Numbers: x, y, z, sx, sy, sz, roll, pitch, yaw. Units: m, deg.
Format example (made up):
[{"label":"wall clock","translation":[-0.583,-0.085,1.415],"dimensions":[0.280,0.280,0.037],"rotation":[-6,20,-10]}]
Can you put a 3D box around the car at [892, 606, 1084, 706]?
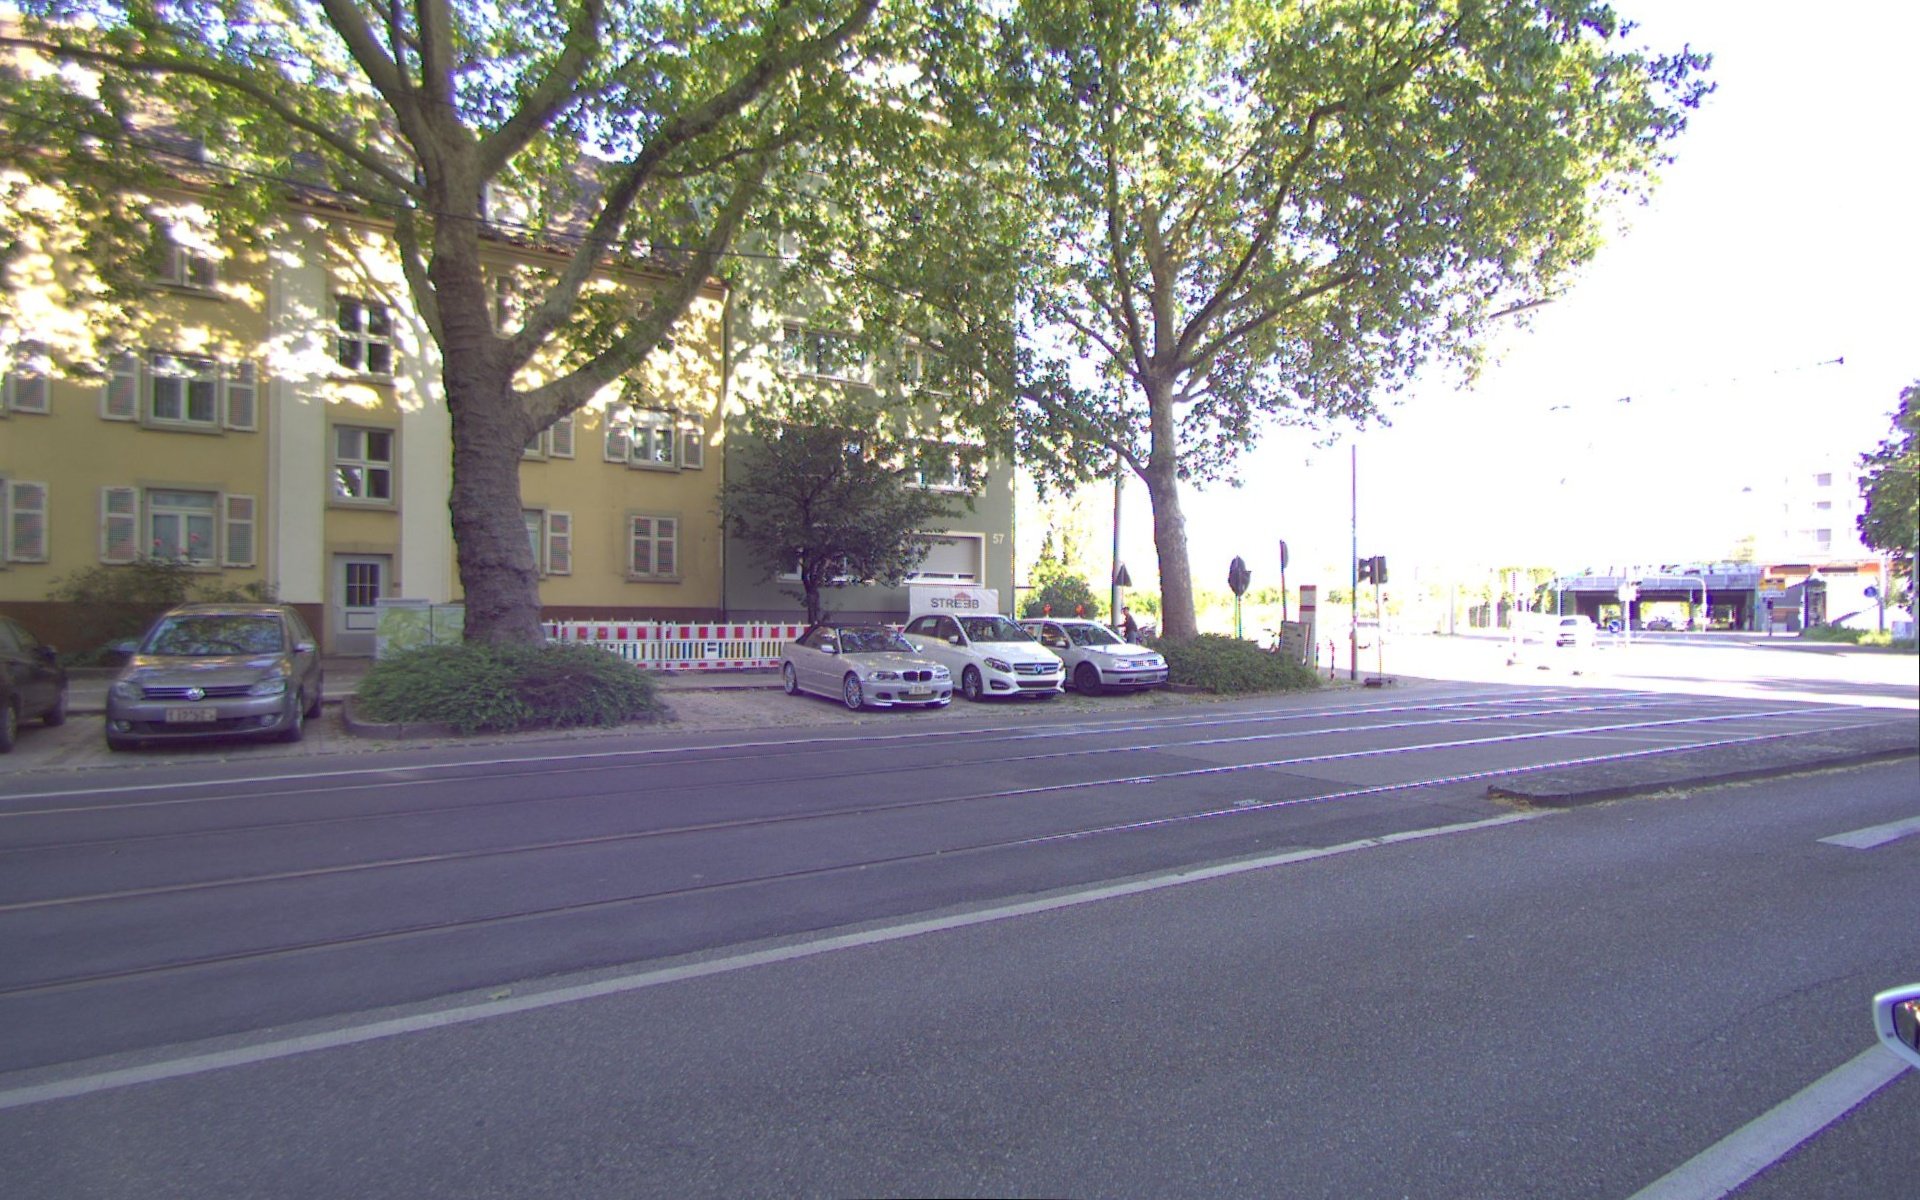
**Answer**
[{"label":"car","translation":[0.407,0.986,19.176],"dimensions":[1.822,1.633,4.052],"rotation":[2,0,-29]}]

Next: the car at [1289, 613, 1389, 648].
[{"label":"car","translation":[18.816,1.501,50.009],"dimensions":[4.219,1.551,2.097],"rotation":[2,0,4]}]

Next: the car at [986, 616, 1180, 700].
[{"label":"car","translation":[2.408,1.118,20.559],"dimensions":[1.688,1.436,3.959],"rotation":[2,0,-36]}]

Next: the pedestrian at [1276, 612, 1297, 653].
[{"label":"pedestrian","translation":[13.050,1.304,40.096],"dimensions":[0.591,1.617,0.682],"rotation":[2,0,35]}]

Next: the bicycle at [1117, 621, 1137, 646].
[{"label":"bicycle","translation":[5.394,1.084,32.380],"dimensions":[0.351,0.769,1.781],"rotation":[0,-1,18]}]

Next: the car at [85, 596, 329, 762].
[{"label":"car","translation":[-8.975,0.814,12.331],"dimensions":[1.822,1.641,4.052],"rotation":[2,0,-29]}]

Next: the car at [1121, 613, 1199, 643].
[{"label":"car","translation":[11.438,1.587,57.594],"dimensions":[3.933,1.439,1.887],"rotation":[0,5,35]}]

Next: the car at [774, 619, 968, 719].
[{"label":"car","translation":[-1.657,1.088,17.285],"dimensions":[1.822,1.387,4.052],"rotation":[2,0,-29]}]

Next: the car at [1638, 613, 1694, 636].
[{"label":"car","translation":[68.425,2.380,97.413],"dimensions":[1.972,2.040,3.977],"rotation":[2,0,-23]}]

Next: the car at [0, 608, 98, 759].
[{"label":"car","translation":[-11.411,0.864,11.419],"dimensions":[1.673,1.466,3.834],"rotation":[2,0,-29]}]

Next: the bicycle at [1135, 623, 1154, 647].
[{"label":"bicycle","translation":[6.320,1.196,34.468],"dimensions":[0.351,0.769,1.781],"rotation":[0,-1,1]}]

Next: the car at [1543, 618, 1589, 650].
[{"label":"car","translation":[33.500,1.841,55.635],"dimensions":[1.964,1.653,4.623],"rotation":[0,-1,29]}]
